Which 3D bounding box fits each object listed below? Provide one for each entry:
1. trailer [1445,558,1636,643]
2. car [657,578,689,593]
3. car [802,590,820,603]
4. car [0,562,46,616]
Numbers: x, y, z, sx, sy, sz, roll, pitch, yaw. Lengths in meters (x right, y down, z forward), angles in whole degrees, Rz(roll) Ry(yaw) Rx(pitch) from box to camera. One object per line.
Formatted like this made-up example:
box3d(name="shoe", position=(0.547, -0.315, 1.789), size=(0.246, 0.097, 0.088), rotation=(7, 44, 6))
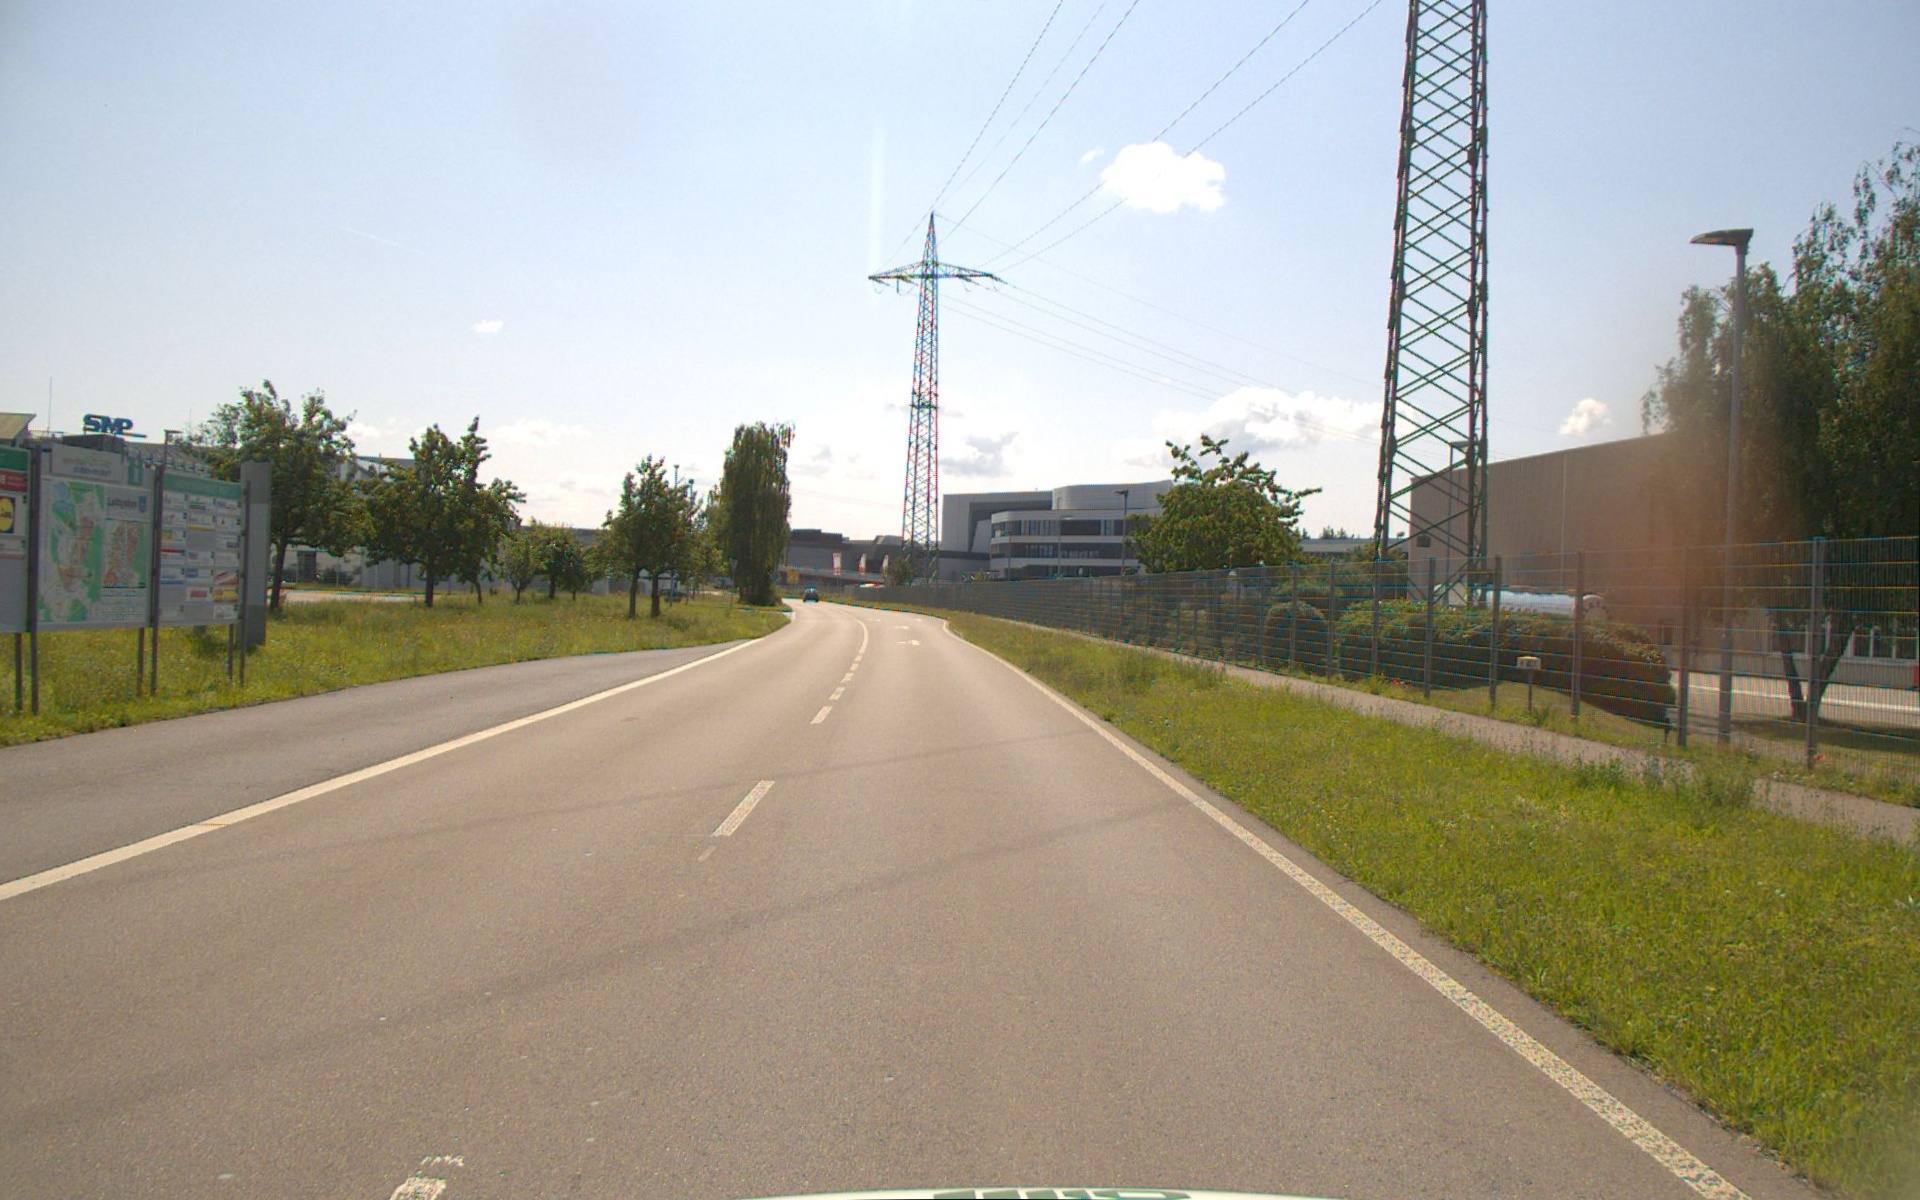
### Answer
box3d(name="trailer", position=(28.204, -0.022, 81.284), size=(3.524, 3.800, 12.214), rotation=(1, 0, -8))
box3d(name="car", position=(-37.278, -1.887, 215.022), size=(3.914, 1.601, 1.996), rotation=(4, -1, -10))
box3d(name="car", position=(-18.009, -0.450, 200.044), size=(1.973, 1.534, 3.996), rotation=(2, 0, -5))
box3d(name="car", position=(-30.528, -0.411, 50.765), size=(3.912, 1.582, 1.663), rotation=(3, 0, -8))
